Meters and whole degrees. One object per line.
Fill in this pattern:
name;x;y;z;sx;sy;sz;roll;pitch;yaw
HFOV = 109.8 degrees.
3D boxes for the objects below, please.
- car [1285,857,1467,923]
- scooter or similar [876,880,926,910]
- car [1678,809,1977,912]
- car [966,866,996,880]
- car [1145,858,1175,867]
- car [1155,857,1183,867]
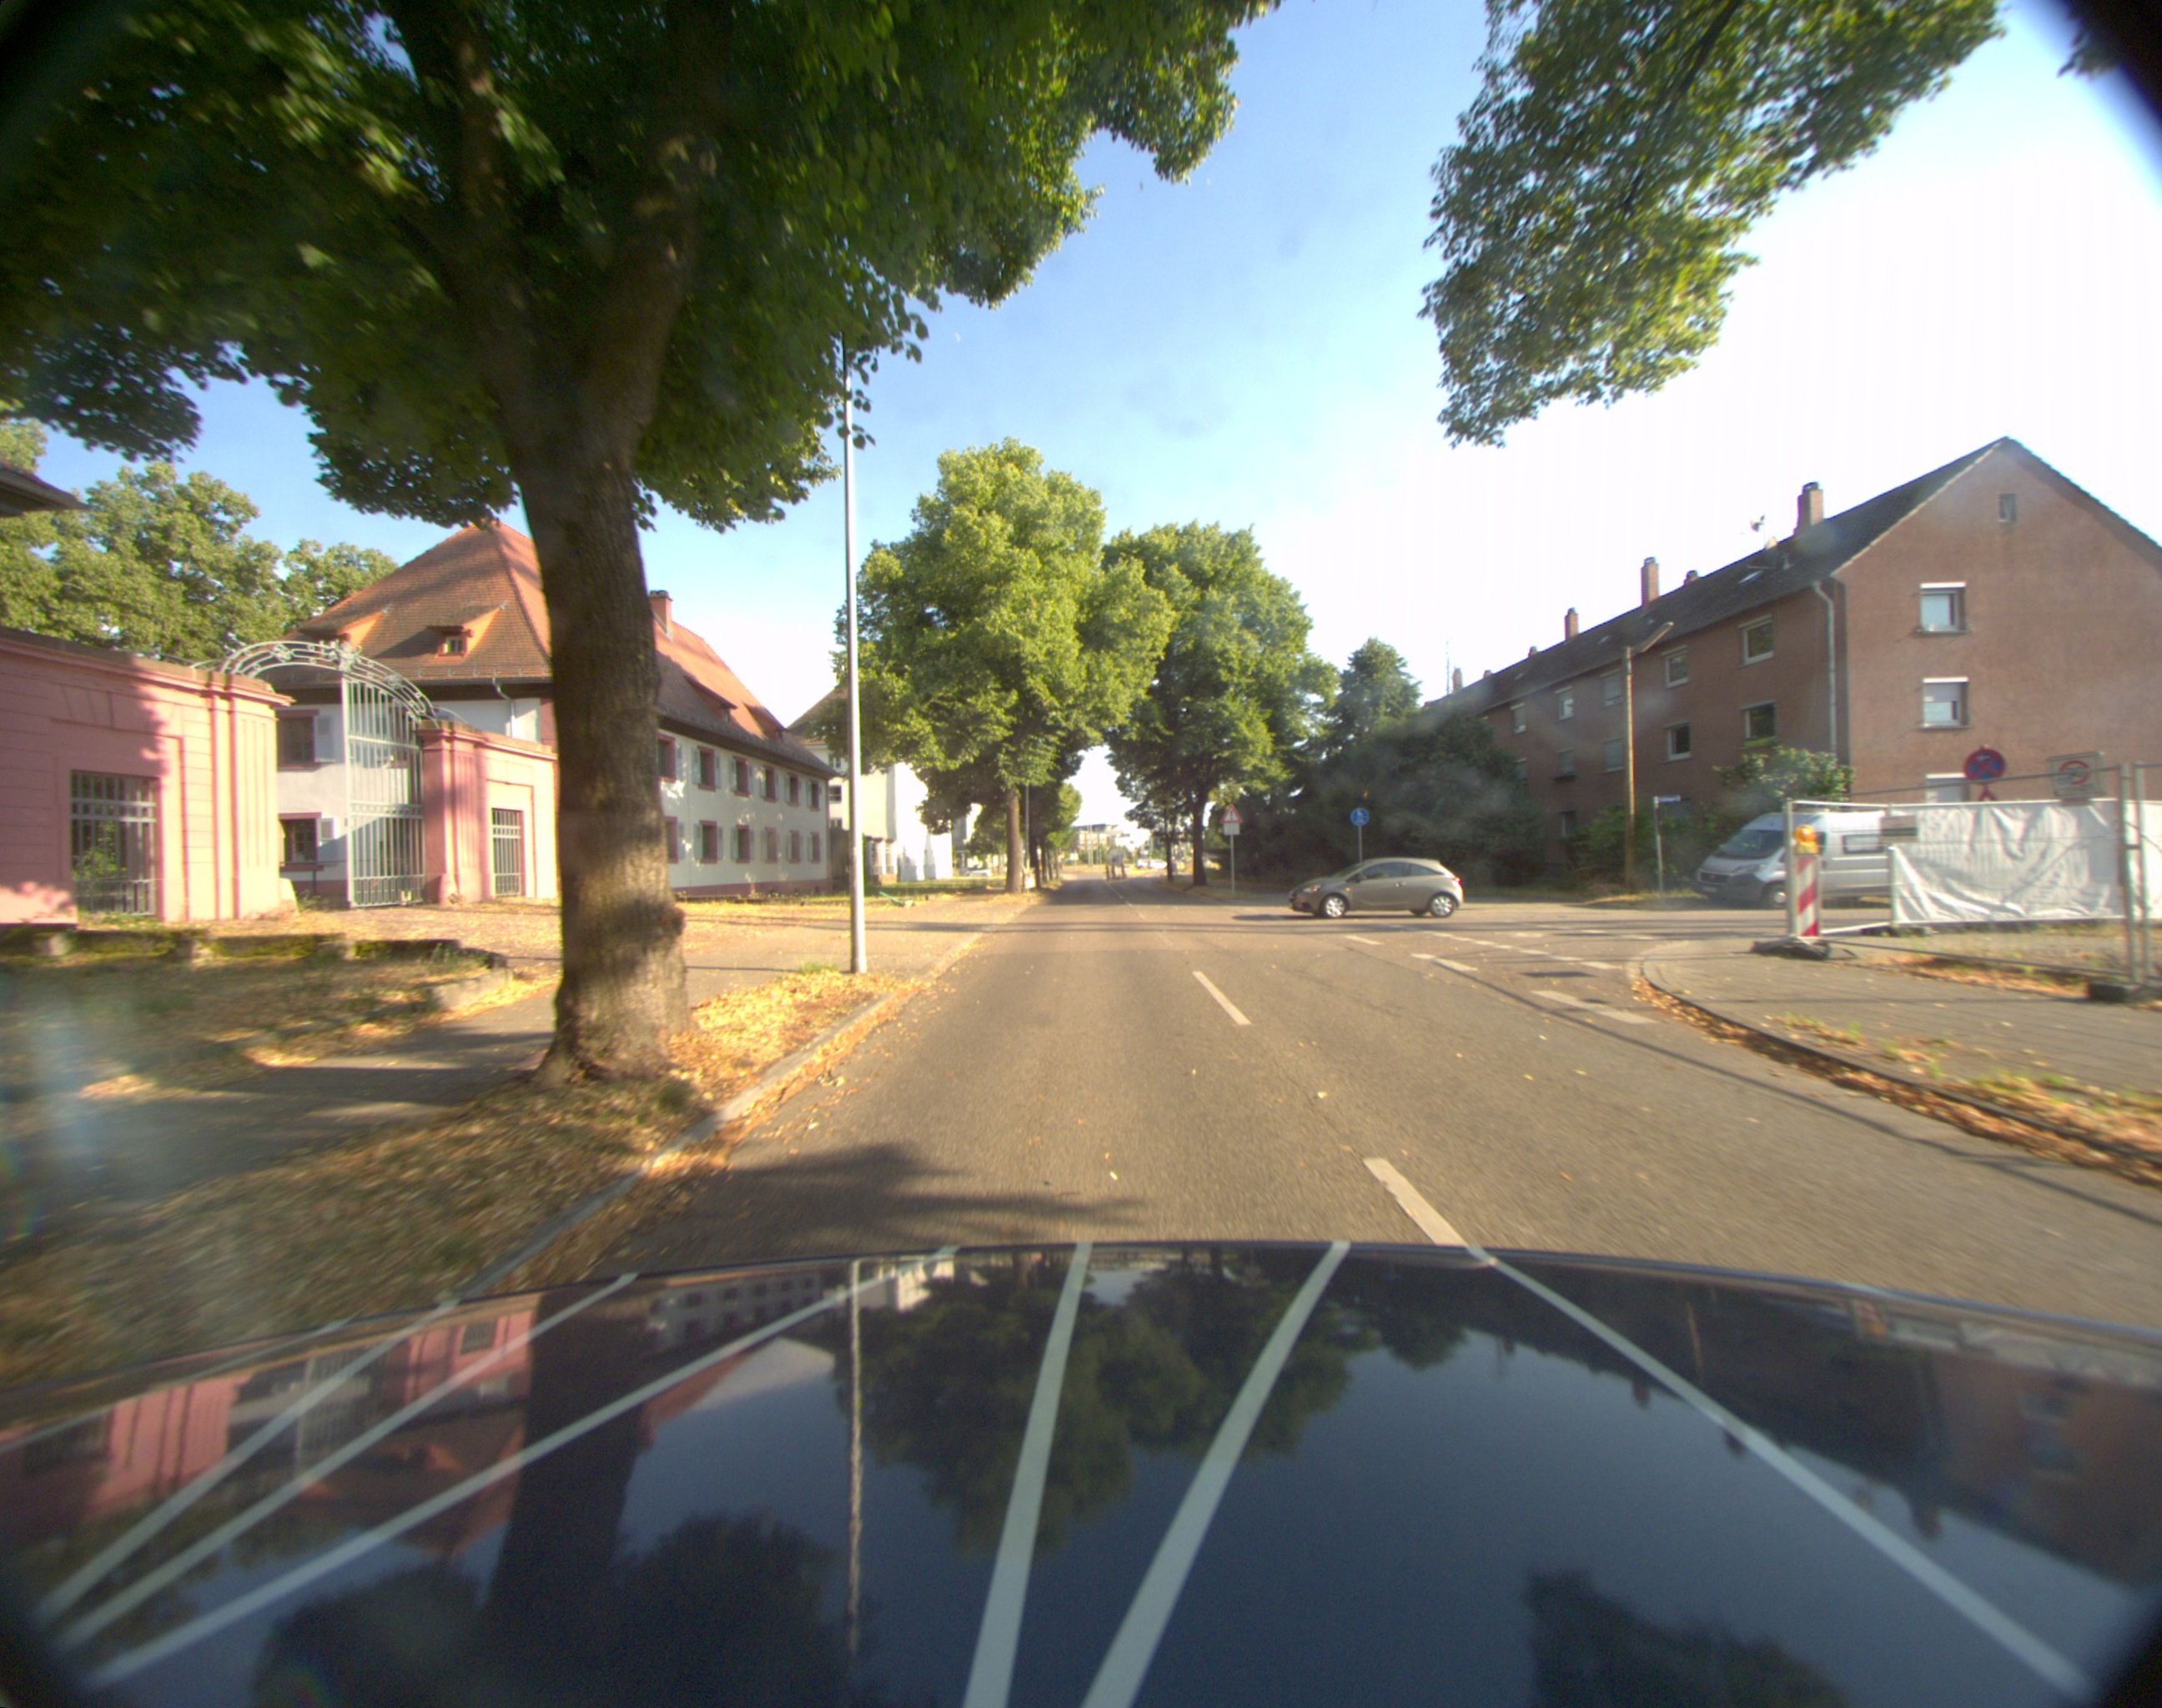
car;7.149;0.869;18.736;3.851;1.464;1.652;-2;0;7
scooter or similar;-6.001;1.370;25.341;1.227;0.546;1.064;19;4;7
car;19.237;0.097;19.854;5.319;2.455;2.168;1;4;4
car;-13.647;2.634;103.956;3.621;1.411;1.767;-8;-6;5
car;13.593;1.502;130.432;4.591;1.376;2.092;-2;0;-12
car;14.697;1.296;127.351;4.269;1.521;1.998;1;0;-12
